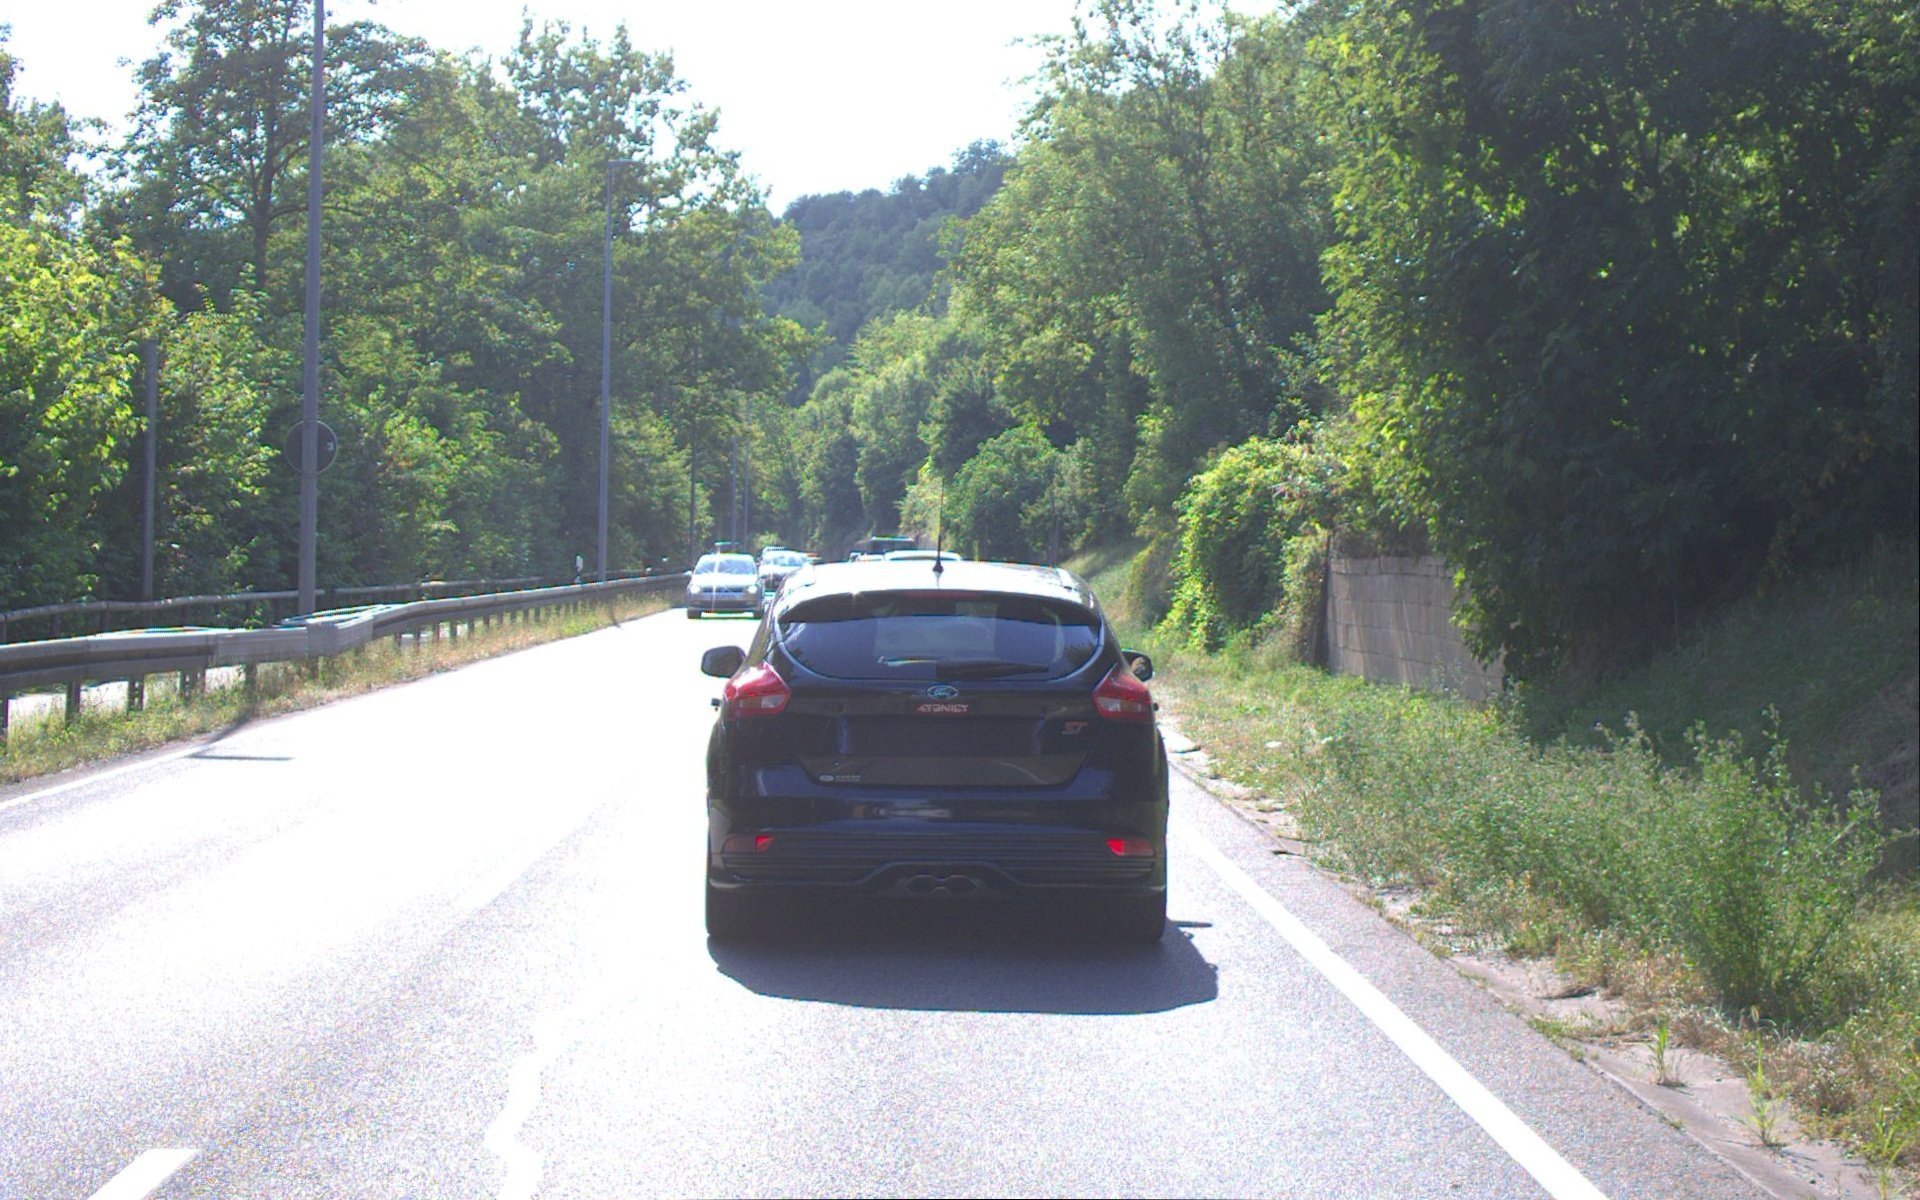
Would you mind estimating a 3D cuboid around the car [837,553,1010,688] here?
[{"bbox_3d":[-0.405,0.189,37.896,1.804,1.387,4.000,0,1,-1],"label":"car"}]

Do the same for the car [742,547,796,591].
[{"bbox_3d":[-6.549,-1.081,118.130,1.681,1.458,4.198,1,1,-1],"label":"car"}]

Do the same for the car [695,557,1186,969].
[{"bbox_3d":[-0.094,0.564,14.332,1.739,1.451,4.000,1,1,-1],"label":"car"}]

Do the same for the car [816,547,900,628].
[{"bbox_3d":[-2.050,-0.280,69.951,1.631,1.590,4.000,0,1,-1],"label":"car"}]

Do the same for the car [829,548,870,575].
[{"bbox_3d":[-6.444,-2.244,200.162,1.993,1.514,4.001,0,1,-8],"label":"car"}]

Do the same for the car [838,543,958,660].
[{"bbox_3d":[-0.868,-0.018,48.971,1.631,1.590,4.000,0,1,-1],"label":"car"}]

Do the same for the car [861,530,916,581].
[{"bbox_3d":[-2.608,-1.605,123.934,1.863,1.774,4.001,0,1,-3],"label":"car"}]

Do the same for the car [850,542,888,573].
[{"bbox_3d":[-4.591,-2.158,173.909,1.819,1.514,4.000,0,1,-1],"label":"car"}]

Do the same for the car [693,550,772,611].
[{"bbox_3d":[-5.199,-0.468,78.821,1.623,1.372,4.048,0,1,-1],"label":"car"}]

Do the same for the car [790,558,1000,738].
[{"bbox_3d":[-0.498,0.361,29.429,1.661,1.413,4.000,0,1,1],"label":"car"}]

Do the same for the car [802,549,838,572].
[{"bbox_3d":[-9.340,-2.661,228.988,1.993,1.514,4.001,0,1,-9],"label":"car"}]
